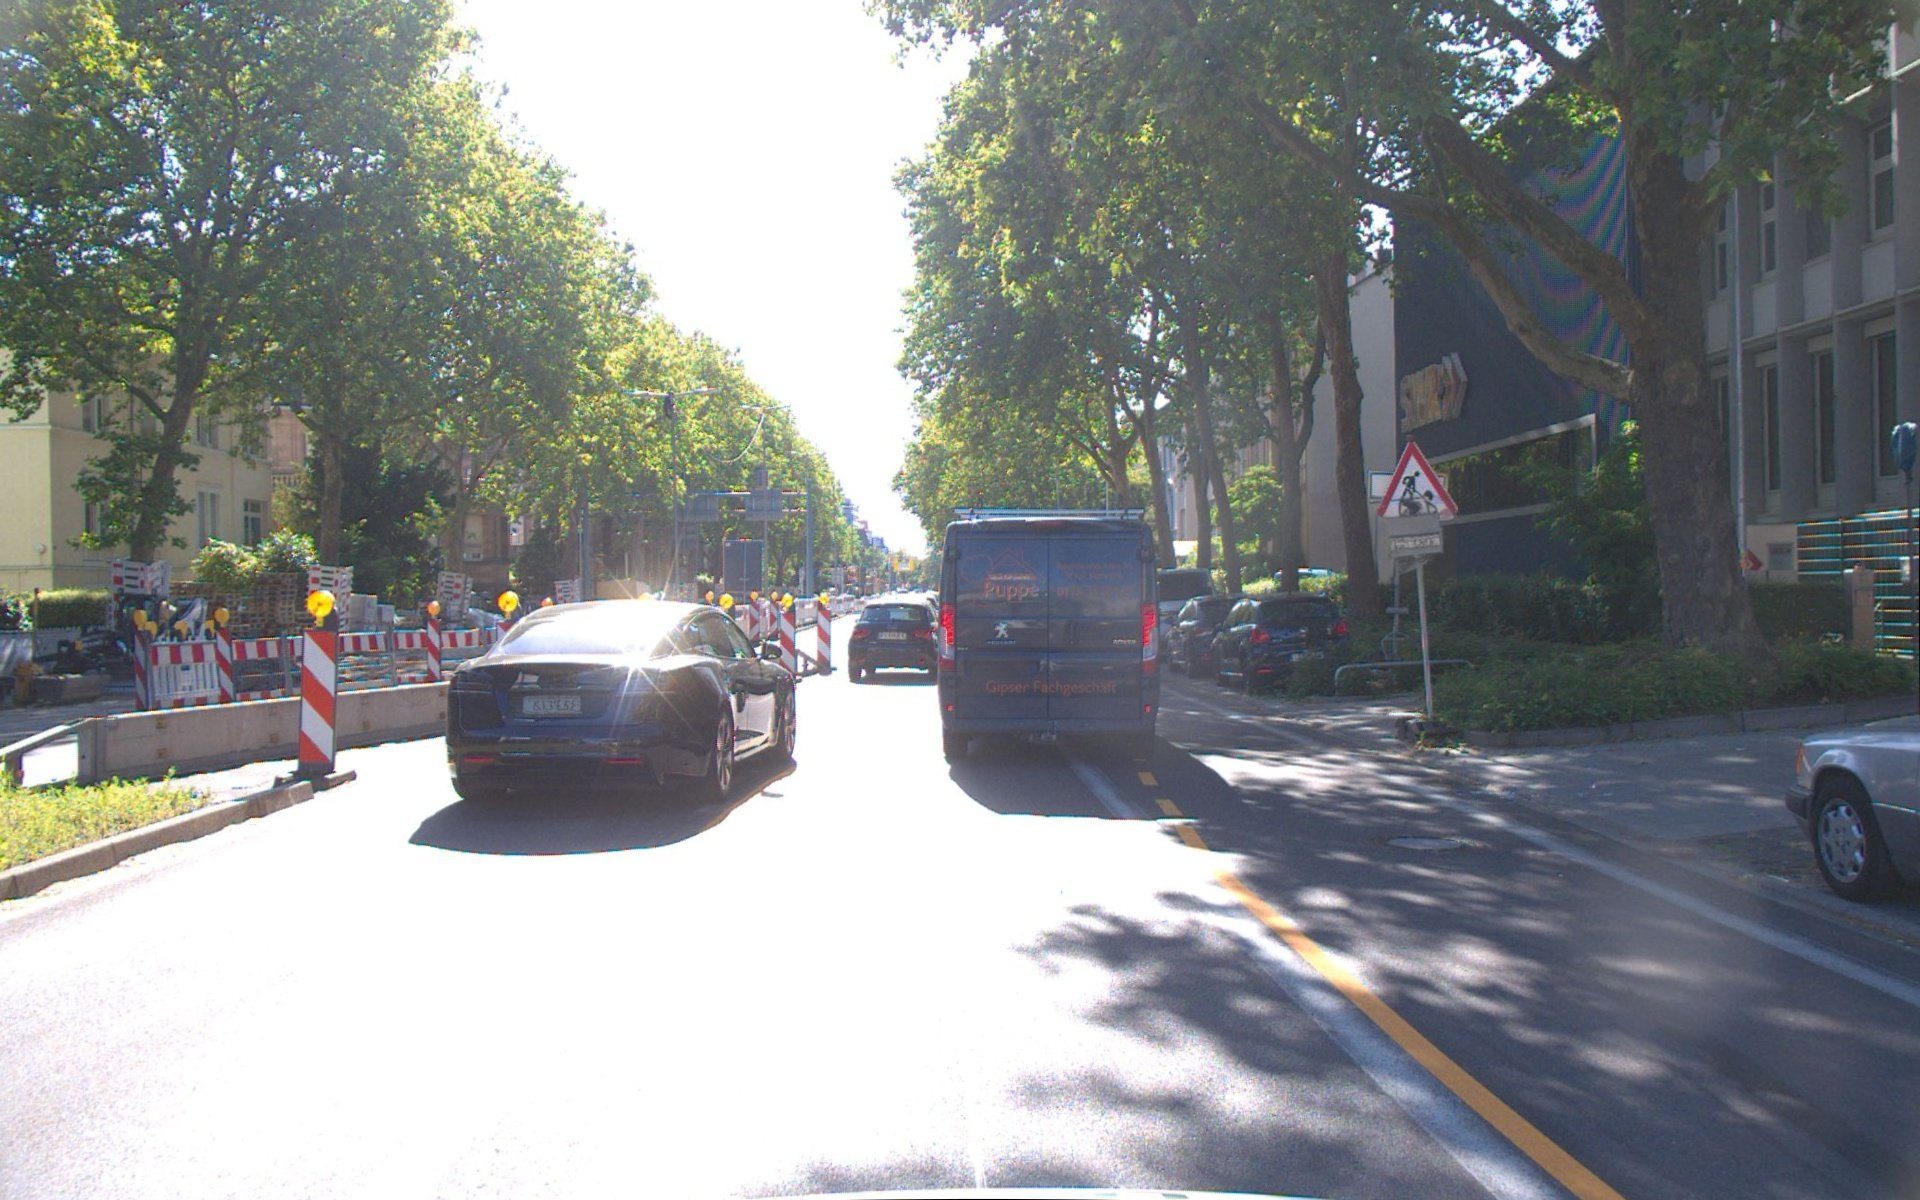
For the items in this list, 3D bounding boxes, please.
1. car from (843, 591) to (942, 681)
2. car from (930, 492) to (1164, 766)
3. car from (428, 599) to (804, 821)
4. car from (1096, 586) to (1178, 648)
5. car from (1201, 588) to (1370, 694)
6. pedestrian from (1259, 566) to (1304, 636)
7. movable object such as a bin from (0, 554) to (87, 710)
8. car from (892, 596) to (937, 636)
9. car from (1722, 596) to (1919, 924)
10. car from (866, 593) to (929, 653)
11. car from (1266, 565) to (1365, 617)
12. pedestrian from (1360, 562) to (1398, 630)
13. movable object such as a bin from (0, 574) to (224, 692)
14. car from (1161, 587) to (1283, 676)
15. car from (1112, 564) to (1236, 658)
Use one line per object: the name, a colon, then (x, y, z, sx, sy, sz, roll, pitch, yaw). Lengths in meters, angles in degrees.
car: (-1.277, 0.615, 30.707, 1.711, 1.431, 3.998, 1, 2, -3)
car: (0.758, 0.222, 16.425, 2.052, 2.396, 3.933, 0, 1, 0)
car: (-2.504, 0.752, 13.309, 1.885, 1.436, 4.627, 1, -1, 2)
car: (4.628, 0.426, 43.656, 1.712, 1.503, 4.101, -1, 0, 0)
car: (5.054, 0.590, 26.238, 1.728, 1.534, 4.249, 0, 0, -2)
pedestrian: (7.657, 0.026, 39.434, 0.714, 1.630, 1.266, -1, 0, -6)
movable object such as a bin: (-18.035, 0.571, 29.784, 2.104, 2.753, 5.350, -1, 0, -4)
car: (-1.473, 0.517, 54.590, 1.392, 1.246, 3.437, -1, 0, 0)
car: (5.381, 0.744, 7.017, 1.815, 1.505, 4.939, 0, 0, -3)
car: (-1.596, 0.561, 41.948, 1.516, 1.450, 3.553, 0, 0, -2)
car: (13.307, -0.336, 62.064, 1.689, 1.886, 3.466, 0, 0, -34)
pedestrian: (10.580, -0.110, 41.763, 0.692, 1.677, 0.675, 2, 3, -4)
movable object such as a bin: (-18.292, 0.660, 35.959, 1.952, 2.318, 5.599, -2, 0, 1)
car: (4.870, 0.554, 31.225, 1.623, 1.567, 4.128, 0, 0, -1)
car: (4.798, 0.229, 37.912, 1.985, 1.980, 5.271, -1, 0, -2)
